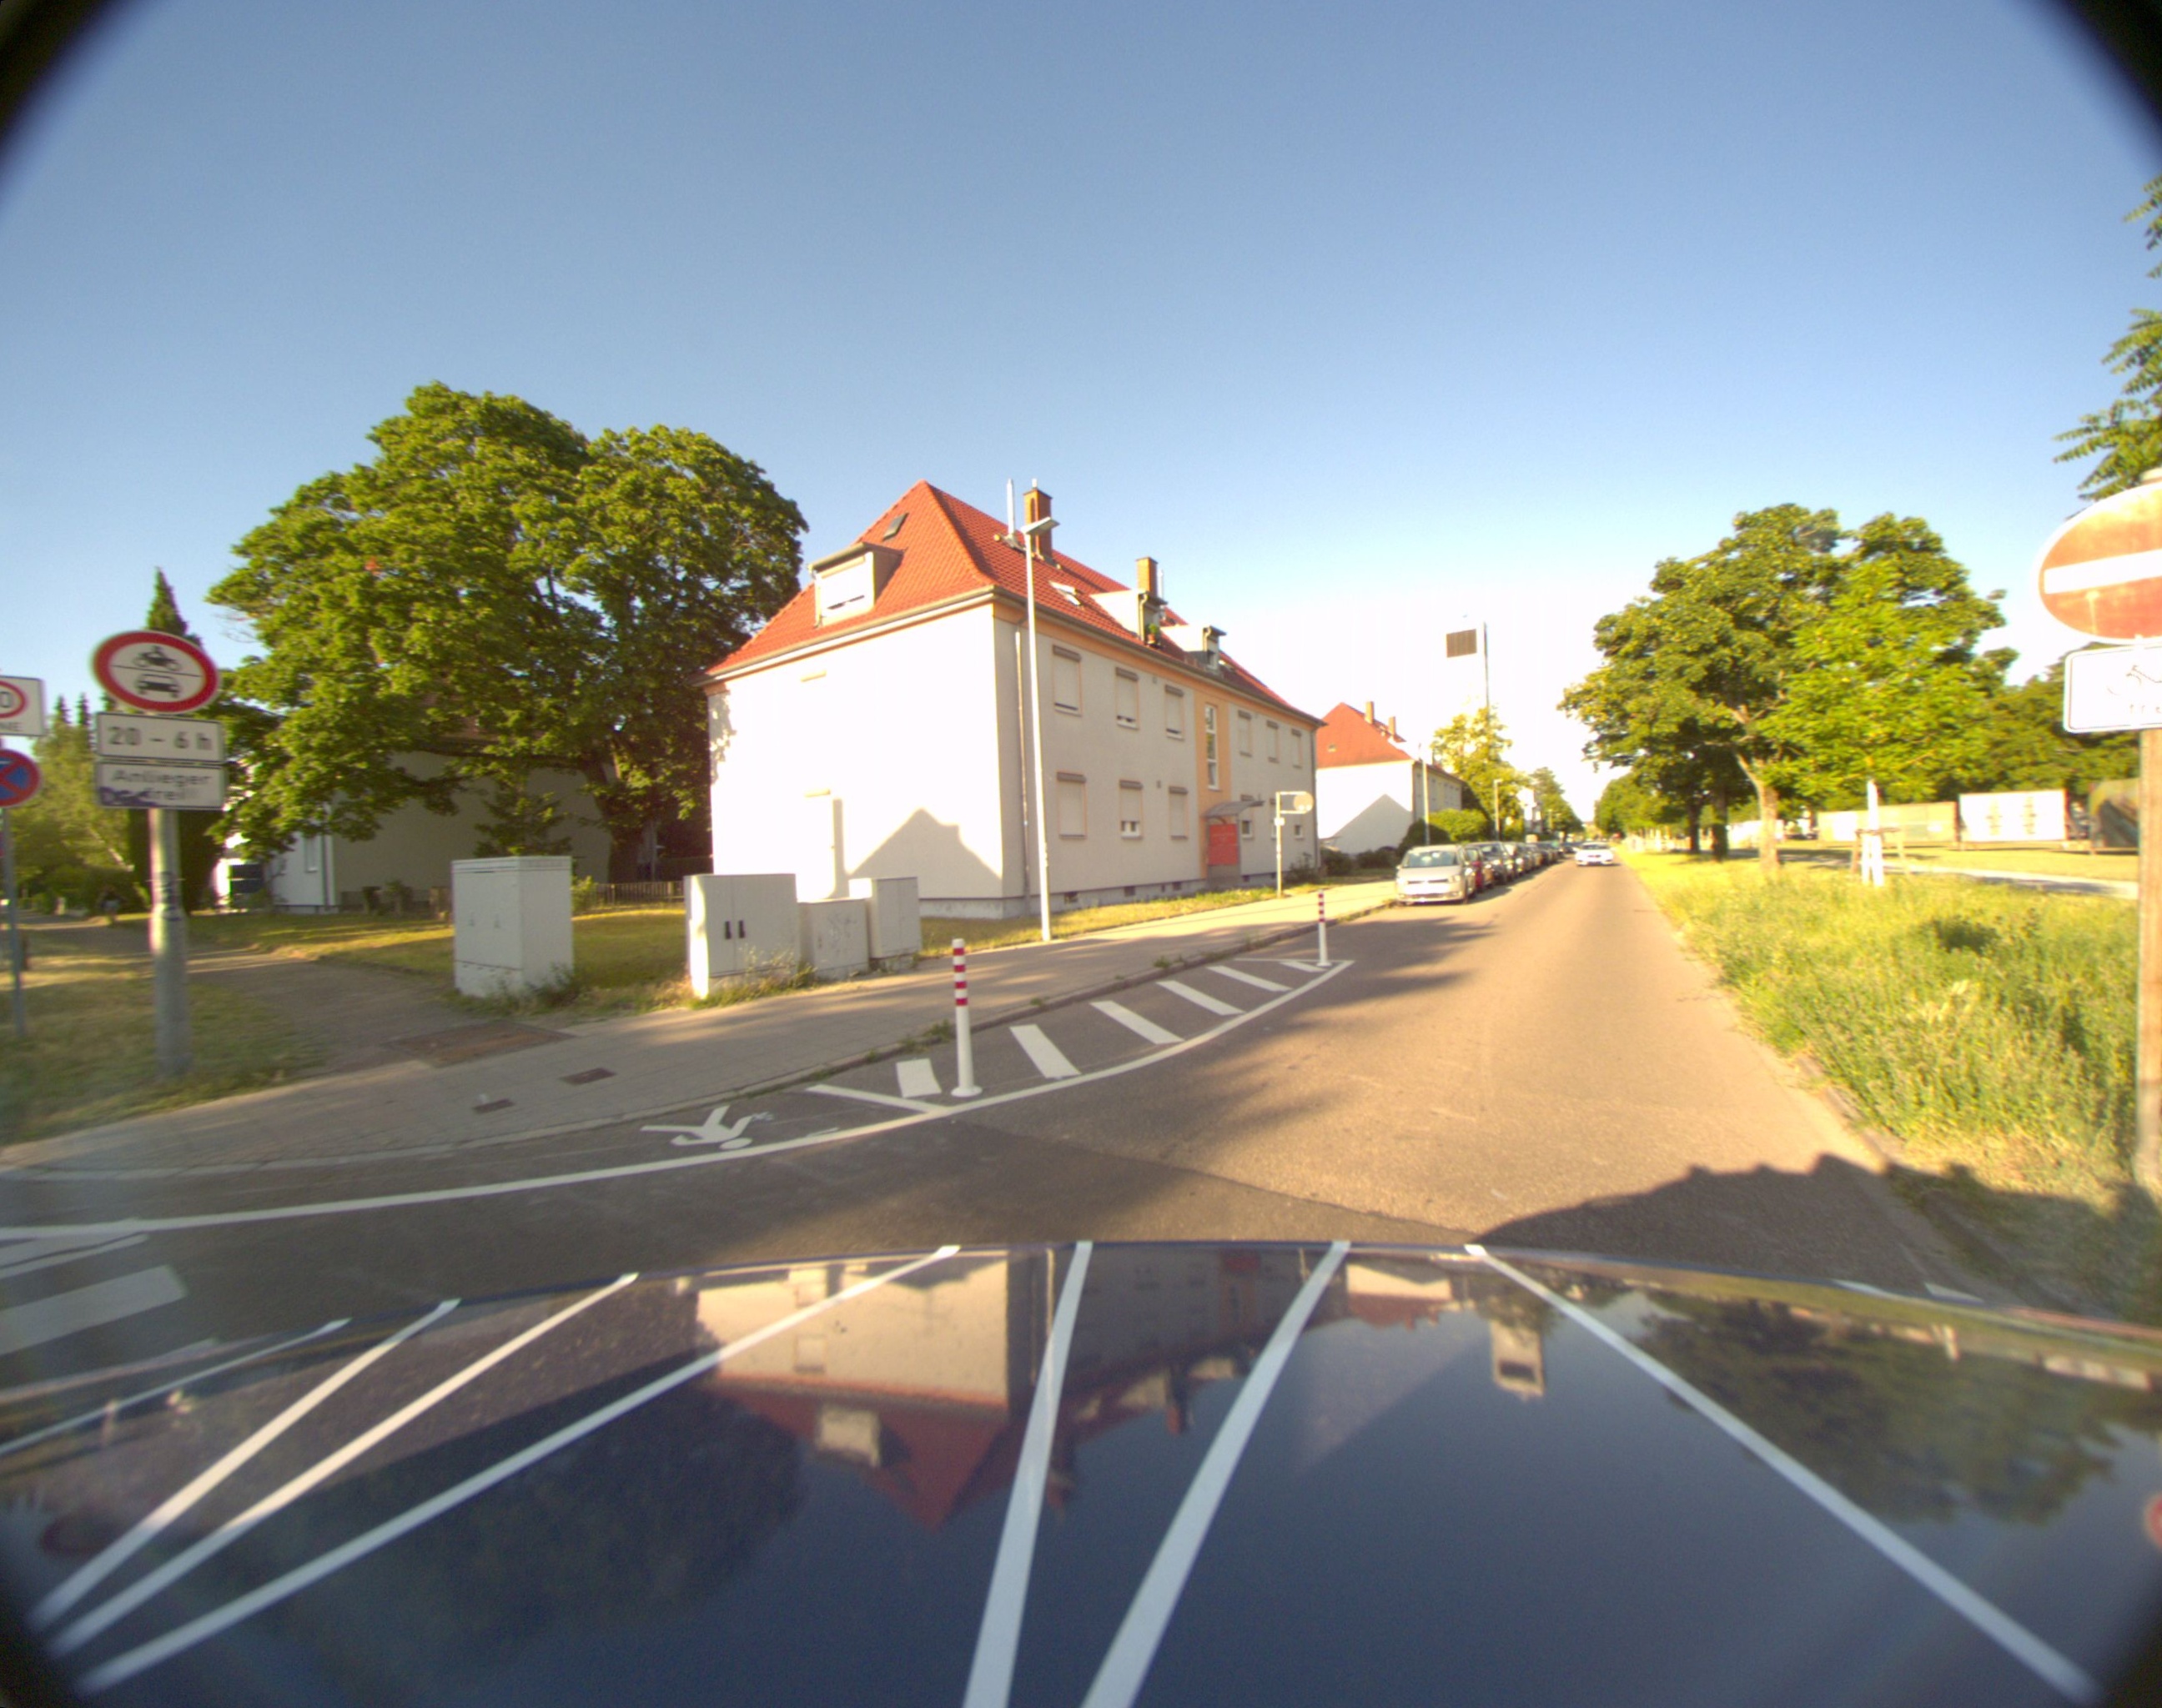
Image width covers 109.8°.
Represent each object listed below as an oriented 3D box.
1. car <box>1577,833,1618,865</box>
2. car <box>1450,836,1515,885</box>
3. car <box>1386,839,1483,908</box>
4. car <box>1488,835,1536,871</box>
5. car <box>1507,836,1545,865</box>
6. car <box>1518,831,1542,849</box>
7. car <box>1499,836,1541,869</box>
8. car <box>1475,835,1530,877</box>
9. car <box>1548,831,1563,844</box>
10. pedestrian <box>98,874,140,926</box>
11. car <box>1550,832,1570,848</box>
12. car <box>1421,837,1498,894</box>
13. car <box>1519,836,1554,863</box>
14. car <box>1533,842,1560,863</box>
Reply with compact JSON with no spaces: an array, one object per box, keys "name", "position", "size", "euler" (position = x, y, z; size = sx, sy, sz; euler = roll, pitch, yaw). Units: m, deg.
[{"name":"car","position":[30.913,-0.325,45.585],"size":[1.866,1.685,4.308],"euler":[-4,-1,33]},{"name":"car","position":[15.811,0.217,29.833],"size":[1.846,1.685,4.007],"euler":[-4,-1,33]},{"name":"car","position":[9.975,0.491,21.307],"size":[1.846,1.685,4.007],"euler":[-4,-1,33]},{"name":"car","position":[22.353,-0.070,39.307],"size":[1.846,1.685,4.007],"euler":[-4,-1,33]},{"name":"car","position":[28.421,-0.241,48.446],"size":[1.846,1.685,4.007],"euler":[-4,-1,33]},{"name":"car","position":[44.097,-1.382,74.565],"size":[1.846,1.685,4.007],"euler":[-4,-1,33]},{"name":"car","position":[25.537,-0.102,44.121],"size":[1.846,1.685,4.007],"euler":[-4,-1,33]},{"name":"car","position":[19.253,0.055,34.621],"size":[1.846,1.685,4.007],"euler":[-4,-1,33]},{"name":"car","position":[70.001,-2.461,112.078],"size":[1.846,1.685,4.007],"euler":[-4,-1,33]},{"name":"pedestrian","position":[-38.459,1.832,30.384],"size":[0.691,2.002,0.900],"euler":[-1,1,33]},{"name":"car","position":[56.564,-1.664,89.666],"size":[1.846,1.685,4.007],"euler":[-4,-1,33]},{"name":"car","position":[12.994,0.351,25.951],"size":[1.846,1.685,4.007],"euler":[-4,-1,33]},{"name":"car","position":[31.251,-0.348,52.099],"size":[1.846,1.685,4.007],"euler":[-4,-1,33]},{"name":"car","position":[40.093,-0.108,65.361],"size":[1.802,1.707,3.351],"euler":[0,2,34]}]
